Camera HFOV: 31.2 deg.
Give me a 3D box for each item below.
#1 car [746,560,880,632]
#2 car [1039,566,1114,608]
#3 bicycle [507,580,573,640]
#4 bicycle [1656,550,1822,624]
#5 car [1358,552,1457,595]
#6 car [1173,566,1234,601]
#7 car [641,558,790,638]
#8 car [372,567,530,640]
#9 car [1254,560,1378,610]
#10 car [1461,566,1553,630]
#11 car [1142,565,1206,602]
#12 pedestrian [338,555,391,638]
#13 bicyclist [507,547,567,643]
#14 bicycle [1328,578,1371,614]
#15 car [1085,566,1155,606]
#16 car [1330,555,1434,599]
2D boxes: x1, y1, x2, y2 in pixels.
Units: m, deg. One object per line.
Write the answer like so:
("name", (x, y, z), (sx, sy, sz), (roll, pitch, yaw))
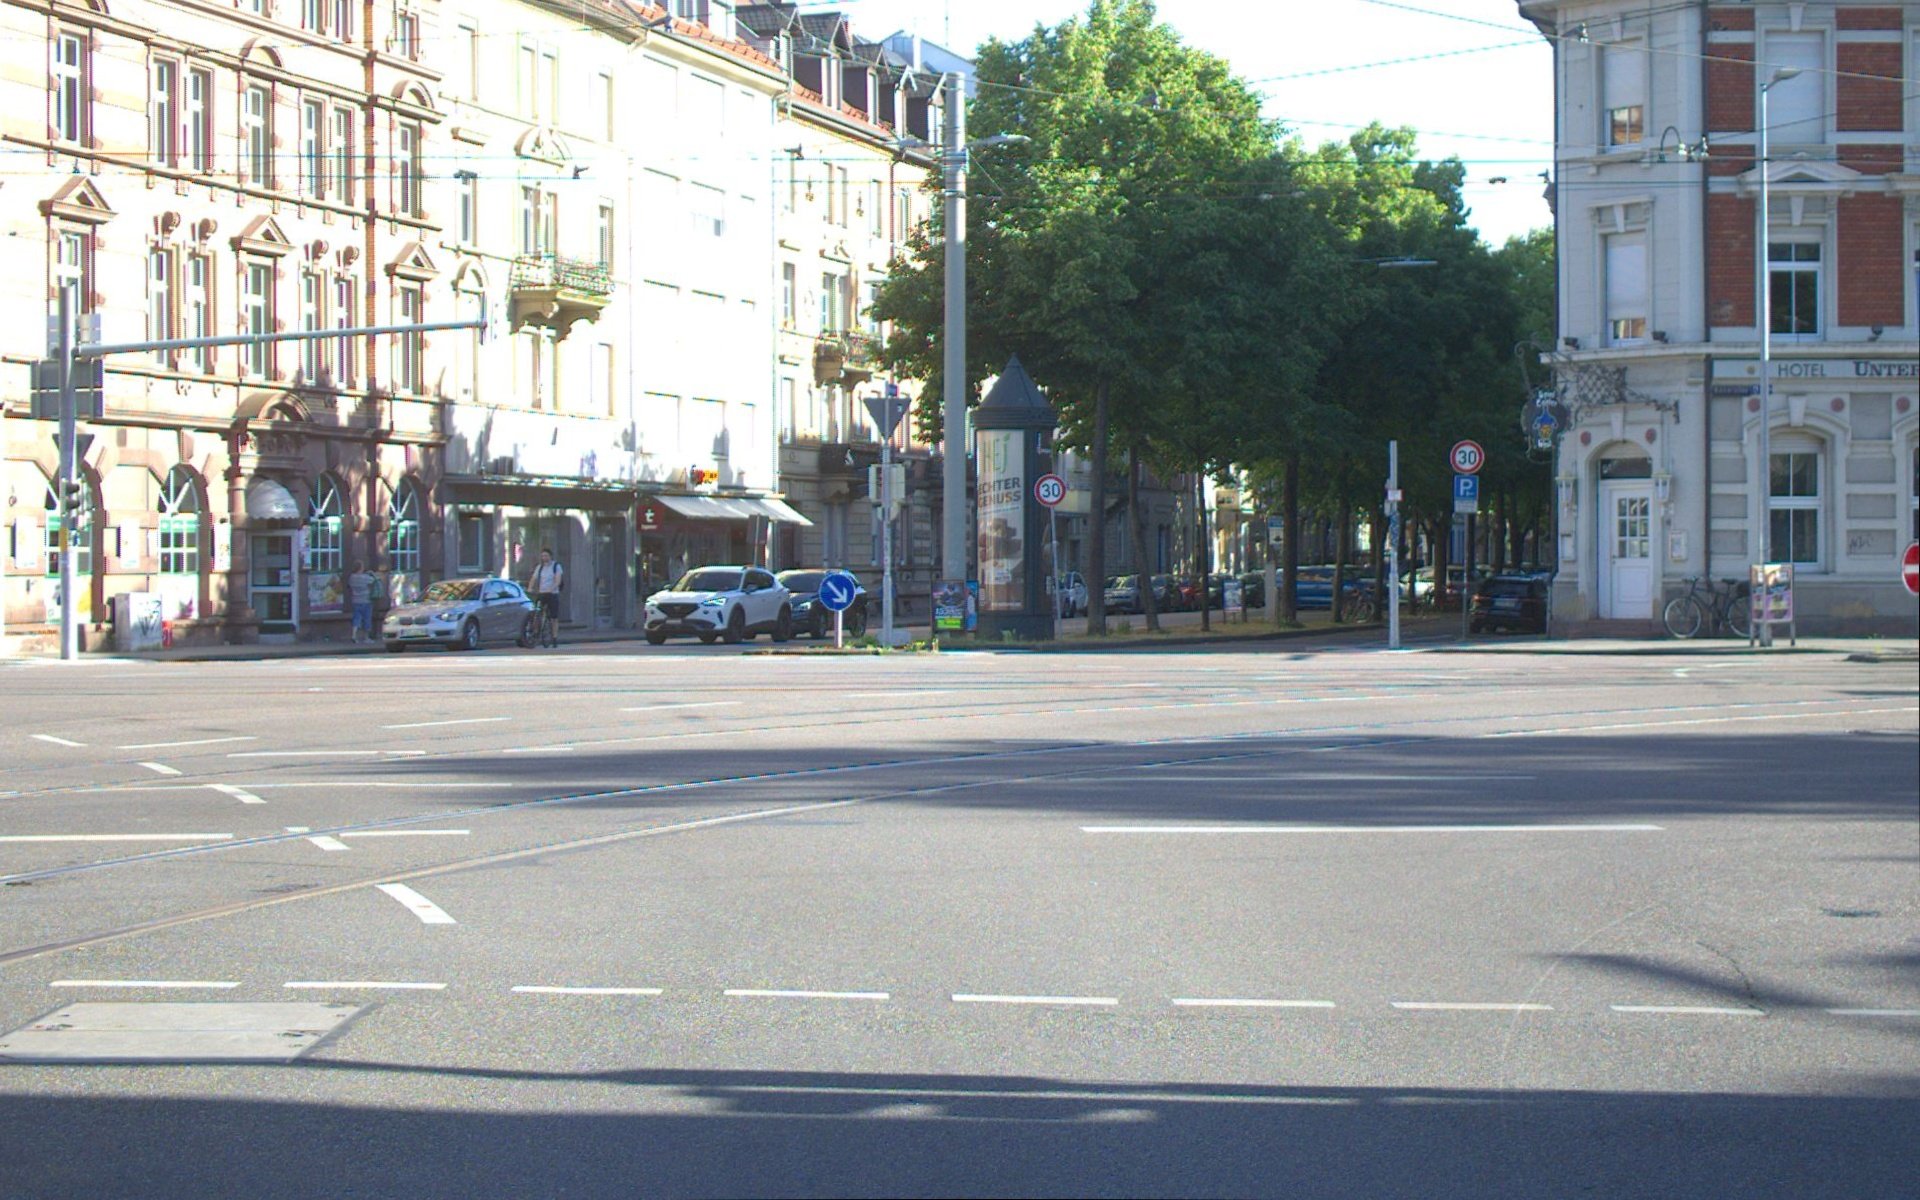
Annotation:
("car", (-3.114, -0.111, 73.619), (1.678, 1.478, 3.945), (0, 1, 17))
("car", (3.940, -0.457, 115.483), (1.678, 1.349, 3.588), (0, 1, 17))
("bicycle", (-7.974, 0.176, 65.269), (0.702, 1.114, 1.634), (1, 1, 13))
("bicycle", (12.974, -0.214, 57.279), (2.554, 1.170, 0.819), (1, 0, -3))
("car", (17.395, -1.015, 133.510), (3.582, 1.642, 1.681), (0, 1, 17))
("car", (9.620, -0.669, 135.781), (1.678, 1.349, 3.588), (0, 1, 17))
("car", (-4.756, -0.061, 67.317), (1.678, 1.478, 3.768), (0, 1, 17))
("car", (-9.867, 0.047, 66.914), (1.678, 1.349, 3.588), (0, 1, 17))
("car", (11.999, -0.522, 115.681), (3.905, 1.642, 1.681), (0, 1, 17))
("car", (13.156, -0.066, 82.577), (1.678, 1.478, 3.945), (0, 1, 17))
("car", (8.148, -0.629, 130.751), (1.678, 1.349, 3.588), (0, 1, 17))
("pedestrian", (-12.197, -0.073, 70.421), (0.776, 1.664, 0.830), (1, 0, 15))
("bicyclist", (-8.009, -0.096, 65.142), (0.779, 1.797, 1.055), (1, 0, 14))
("bicycle", (11.268, -0.115, 99.487), (0.636, 1.018, 1.847), (1, 1, -14))
("car", (5.712, -0.503, 122.445), (1.678, 1.349, 3.588), (0, 1, 17))
("car", (15.721, -0.860, 128.036), (3.582, 1.642, 1.681), (0, 1, 17))
